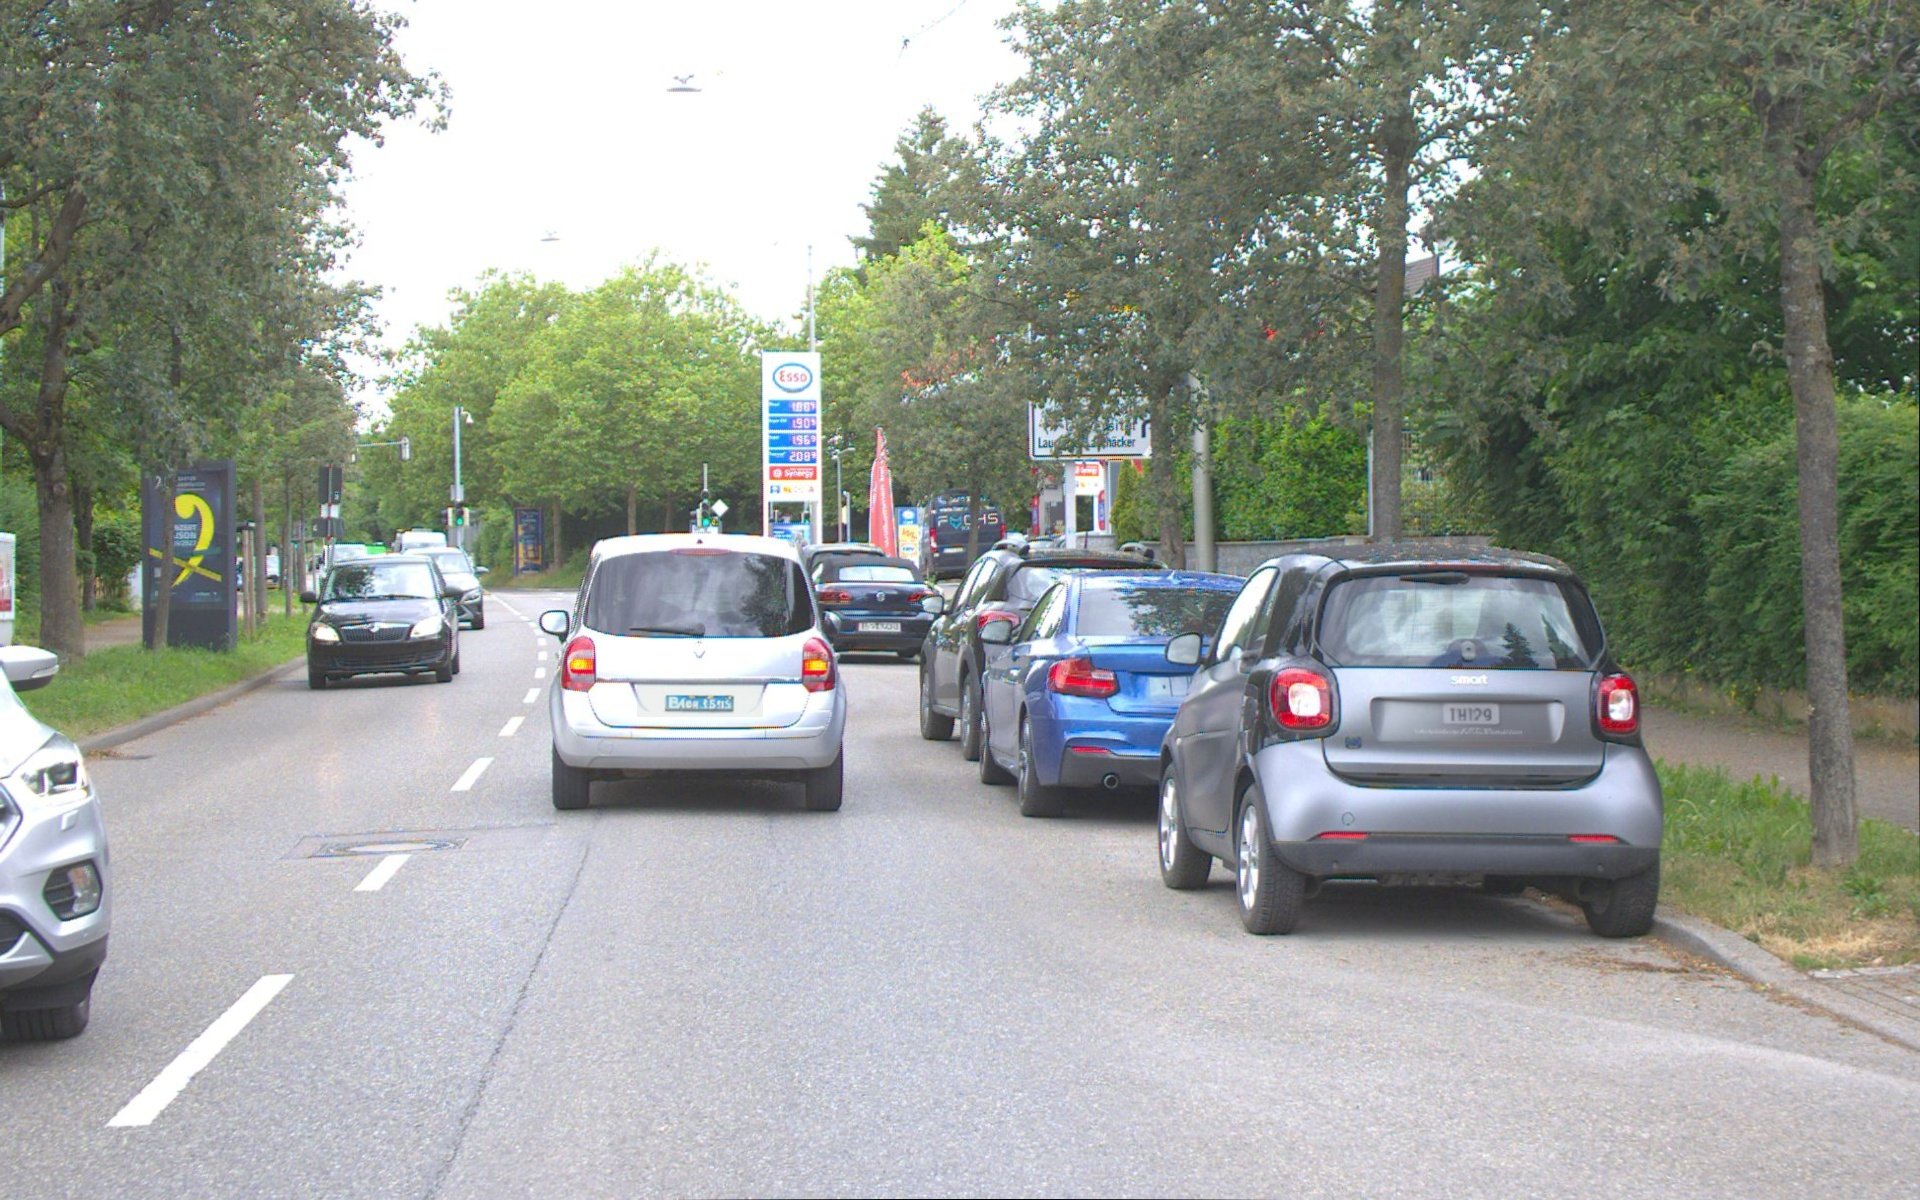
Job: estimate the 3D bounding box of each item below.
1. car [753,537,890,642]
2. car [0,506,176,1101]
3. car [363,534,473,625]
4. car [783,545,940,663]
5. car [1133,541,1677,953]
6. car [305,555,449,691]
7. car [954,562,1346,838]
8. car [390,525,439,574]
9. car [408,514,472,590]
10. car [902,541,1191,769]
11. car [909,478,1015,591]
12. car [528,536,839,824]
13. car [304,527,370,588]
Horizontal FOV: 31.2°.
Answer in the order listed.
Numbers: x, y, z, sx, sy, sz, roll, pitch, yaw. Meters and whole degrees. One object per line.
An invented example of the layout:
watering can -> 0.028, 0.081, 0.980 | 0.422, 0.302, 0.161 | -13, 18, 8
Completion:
car -> -2.112, -0.185, 51.593 | 1.695, 1.501, 3.645 | 0, 1, -8
car -> -4.217, 0.582, 11.418 | 1.742, 1.700, 4.100 | -3, 3, -34
car -> -10.110, -0.413, 64.348 | 1.793, 1.550, 3.673 | -3, 1, -6
car -> -1.367, 0.022, 46.295 | 1.695, 1.501, 3.974 | 0, 1, -8
car -> 1.817, 0.547, 15.225 | 1.695, 1.552, 3.956 | 1, 1, -3
car -> -6.807, 0.231, 40.343 | 1.544, 1.465, 3.743 | -2, 1, -9
car -> 1.021, 0.517, 20.632 | 1.696, 1.428, 4.341 | 1, 1, -5
car -> -22.557, -2.106, 142.205 | 1.740, 2.007, 4.001 | 0, 1, -5
car -> -16.744, -1.564, 110.912 | 1.934, 2.400, 4.001 | 0, 1, -7
car -> 0.580, 0.352, 26.082 | 1.695, 1.565, 3.956 | -1, 1, -6
car -> 0.014, -1.734, 91.695 | 2.281, 2.901, 5.280 | 1, 1, -5
car -> -1.630, 0.407, 20.467 | 1.679, 1.554, 3.512 | 0, 1, -4
car -> -20.747, -1.440, 114.668 | 1.934, 2.007, 4.001 | 0, 1, -7
